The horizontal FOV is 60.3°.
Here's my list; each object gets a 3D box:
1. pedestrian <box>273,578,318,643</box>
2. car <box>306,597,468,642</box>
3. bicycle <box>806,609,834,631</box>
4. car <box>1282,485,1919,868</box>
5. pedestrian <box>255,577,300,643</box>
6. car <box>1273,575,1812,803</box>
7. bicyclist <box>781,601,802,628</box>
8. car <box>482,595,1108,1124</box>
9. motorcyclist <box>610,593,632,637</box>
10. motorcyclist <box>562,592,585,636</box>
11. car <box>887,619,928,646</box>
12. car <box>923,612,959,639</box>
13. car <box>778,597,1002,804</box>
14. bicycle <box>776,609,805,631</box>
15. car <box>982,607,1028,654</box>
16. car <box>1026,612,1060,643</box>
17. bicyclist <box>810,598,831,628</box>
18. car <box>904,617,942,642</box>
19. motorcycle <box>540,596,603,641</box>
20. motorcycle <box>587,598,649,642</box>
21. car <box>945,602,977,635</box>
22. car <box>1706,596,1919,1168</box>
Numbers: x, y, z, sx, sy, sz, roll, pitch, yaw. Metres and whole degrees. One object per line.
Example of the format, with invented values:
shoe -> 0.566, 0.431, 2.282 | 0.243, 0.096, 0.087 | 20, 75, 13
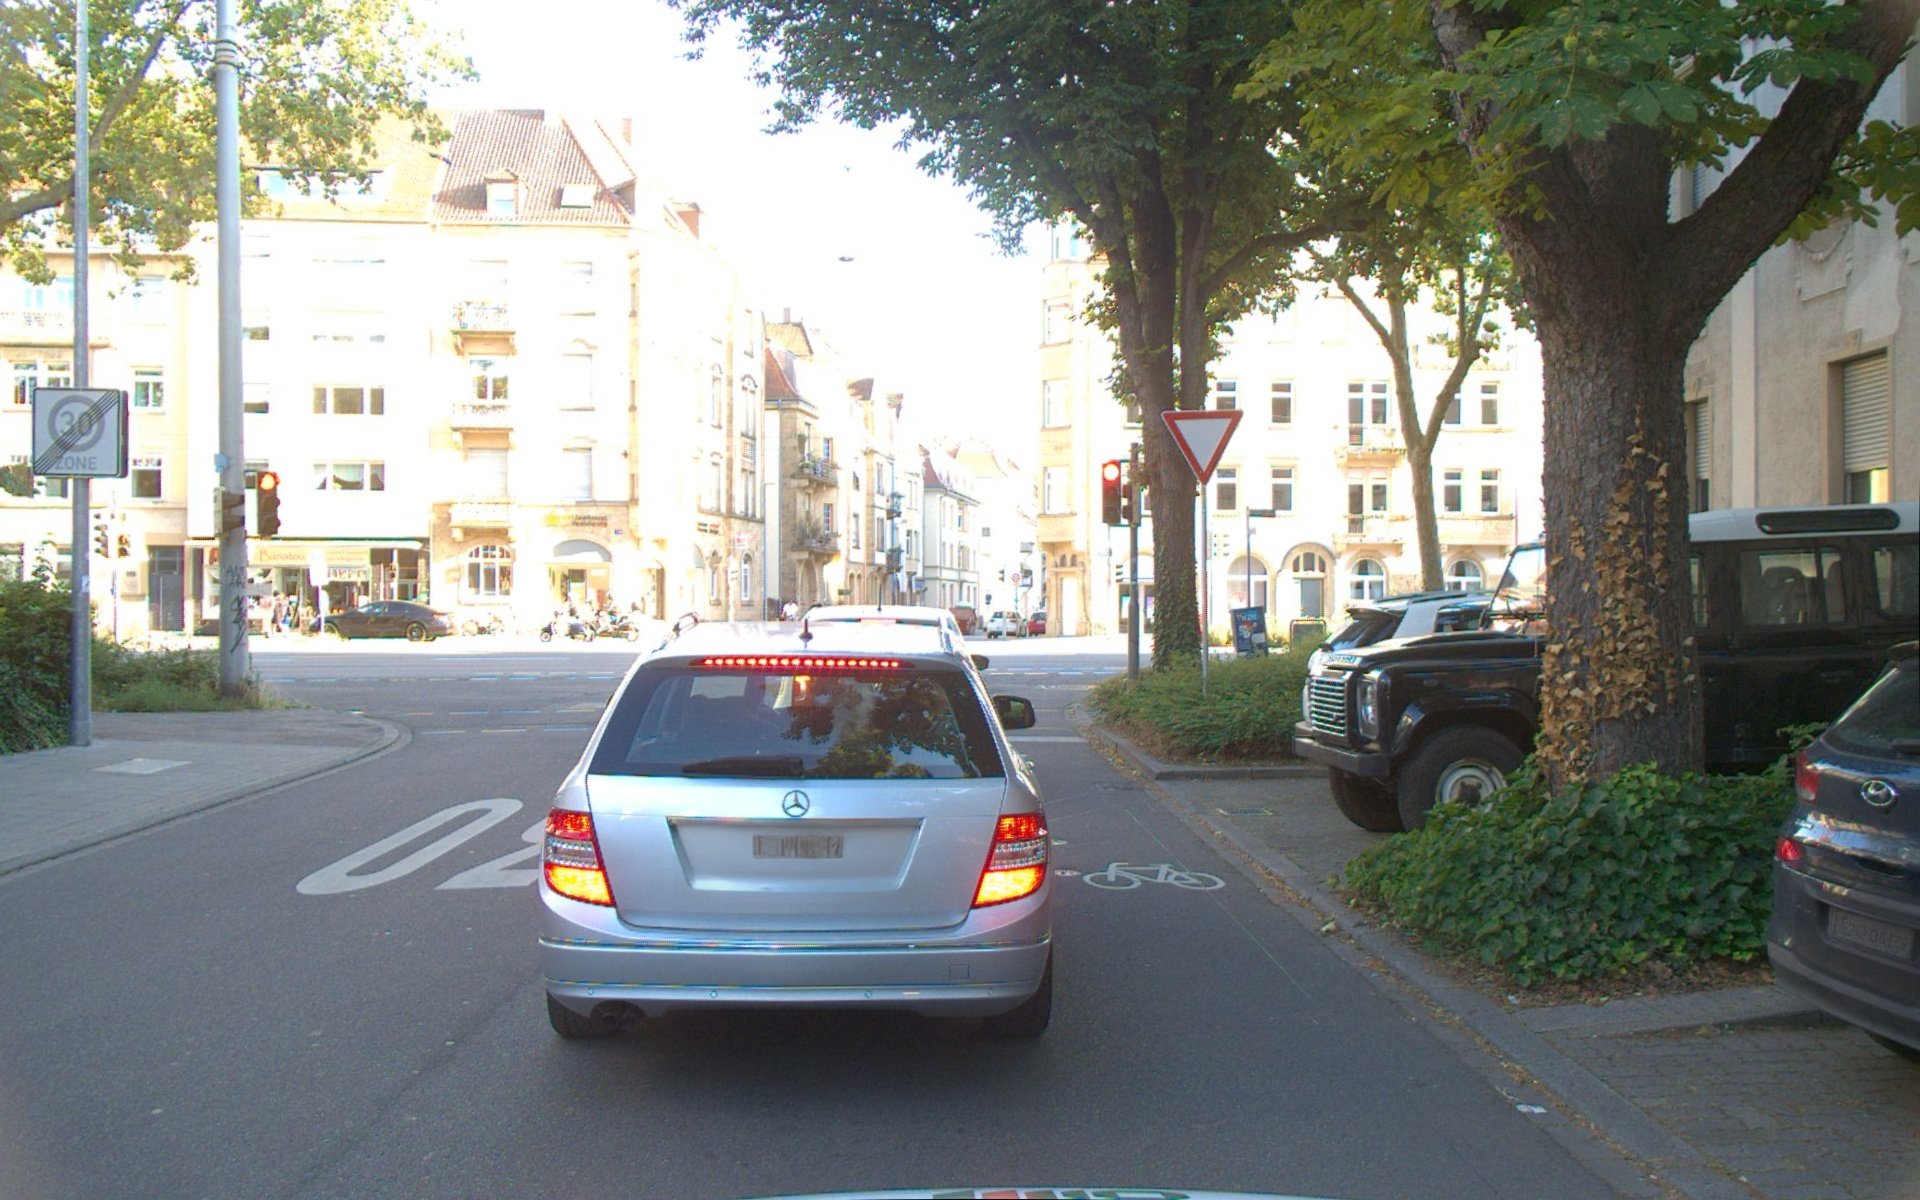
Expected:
pedestrian -> -25.842, 0.397, 64.344 | 1.320, 2.507, 1.059 | 0, 0, -5
car -> -19.169, 0.626, 55.462 | 4.788, 1.477, 1.857 | 0, 0, -5
bicycle -> -6.199, 0.886, 73.359 | 0.754, 0.950, 1.942 | 1, 0, 10
car -> 4.371, 0.408, 10.174 | 4.377, 2.072, 1.699 | -1, 0, -4
pedestrian -> -26.049, 0.375, 63.152 | 1.320, 2.507, 1.059 | 0, 0, -5
car -> 4.512, 0.655, 13.142 | 3.650, 1.597, 1.707 | -1, 0, -4
bicyclist -> -7.477, 0.646, 73.330 | 0.754, 1.177, 0.753 | 1, 0, 10
car -> -0.549, 0.734, 6.934 | 1.741, 1.477, 4.546 | 1, 0, -2
motorcyclist -> -11.668, 0.515, 56.995 | 0.668, 1.477, 0.568 | 0, 0, -5
motorcyclist -> -12.926, 0.465, 55.317 | 0.668, 1.477, 0.568 | 0, 0, -5
car -> -3.059, 1.878, 96.958 | 1.796, 1.427, 4.003 | 0, 1, 7
car -> -1.254, 1.642, 108.709 | 1.796, 1.692, 4.003 | 0, 1, 7
car -> -0.589, 0.724, 14.023 | 1.587, 1.472, 4.342 | 1, 0, -2
bicycle -> -7.495, 0.871, 73.251 | 0.754, 0.956, 1.942 | 1, 0, 10
car -> 2.366, 1.559, 85.903 | 1.987, 2.319, 4.003 | 0, 1, 7
car -> 5.131, 1.663, 101.976 | 1.796, 1.775, 4.003 | 0, 1, 7
bicyclist -> -6.197, 0.587, 73.360 | 0.754, 1.312, 0.753 | 1, 0, 10
car -> -2.259, 1.830, 102.462 | 1.796, 1.427, 4.003 | 0, 1, 7
motorcycle -> -12.989, 0.621, 55.310 | 1.993, 1.477, 0.568 | 0, 0, -5
motorcycle -> -11.777, 0.677, 56.991 | 1.993, 1.477, 0.568 | 0, 0, -5
car -> 0.099, 1.291, 117.324 | 1.749, 2.242, 4.003 | 0, 1, 7
car -> 4.285, 0.697, 4.596 | 3.650, 1.477, 1.707 | -1, 0, -4
